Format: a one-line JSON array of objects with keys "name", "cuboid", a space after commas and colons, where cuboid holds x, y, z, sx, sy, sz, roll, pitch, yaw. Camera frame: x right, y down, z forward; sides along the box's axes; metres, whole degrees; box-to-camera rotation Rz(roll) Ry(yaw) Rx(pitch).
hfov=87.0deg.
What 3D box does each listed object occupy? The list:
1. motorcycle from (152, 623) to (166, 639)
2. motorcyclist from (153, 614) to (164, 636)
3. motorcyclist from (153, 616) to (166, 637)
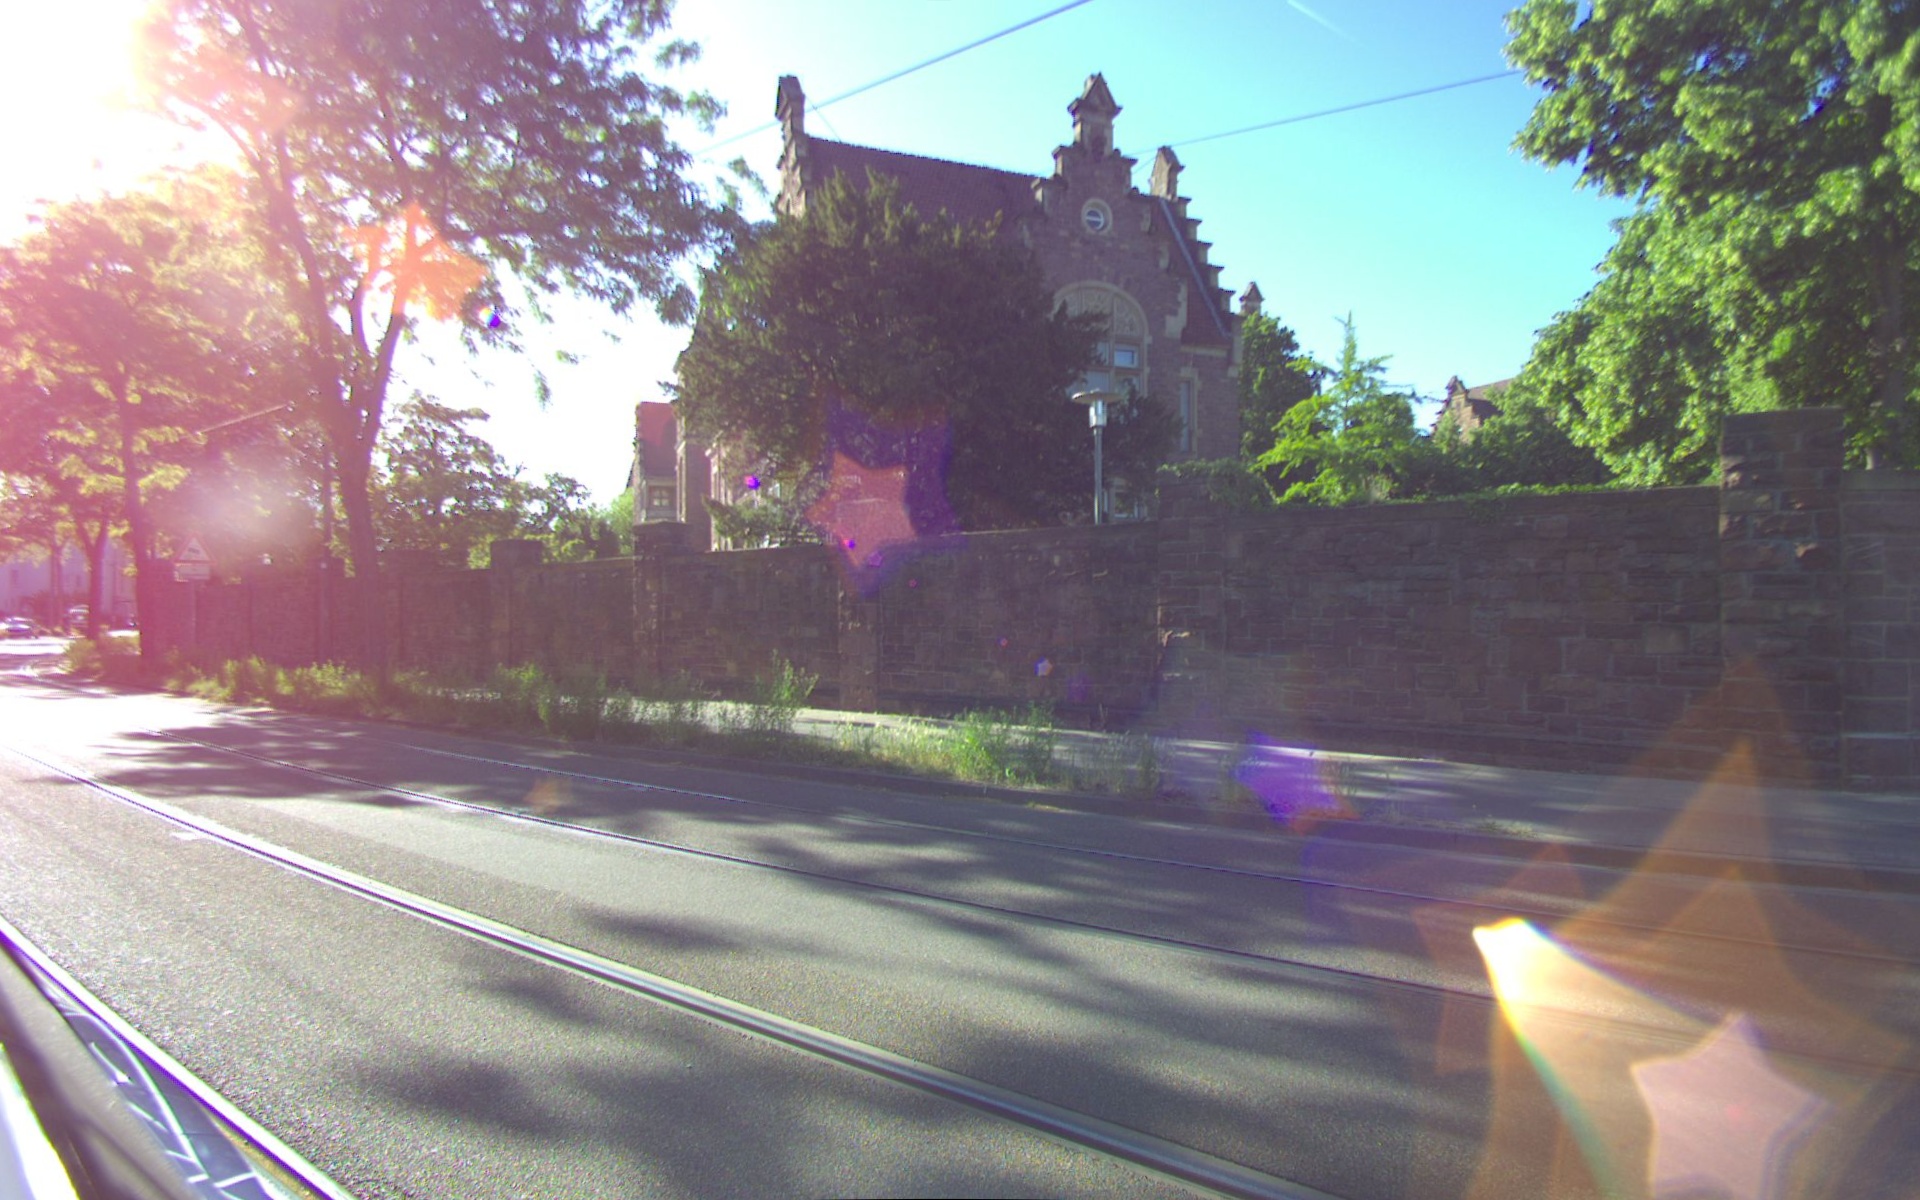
[{"name": "motorcycle", "cuboid": [-57.583, 2.219, 72.780, 0.601, 1.101, 1.861, 0, -1, -32]}, {"name": "motorcyclist", "cuboid": [-57.406, 1.786, 72.486, 0.598, 1.527, 0.467, 0, -1, -33]}, {"name": "motorcyclist", "cuboid": [-57.683, 1.896, 72.902, 0.674, 1.451, 0.448, 0, -1, -32]}]
